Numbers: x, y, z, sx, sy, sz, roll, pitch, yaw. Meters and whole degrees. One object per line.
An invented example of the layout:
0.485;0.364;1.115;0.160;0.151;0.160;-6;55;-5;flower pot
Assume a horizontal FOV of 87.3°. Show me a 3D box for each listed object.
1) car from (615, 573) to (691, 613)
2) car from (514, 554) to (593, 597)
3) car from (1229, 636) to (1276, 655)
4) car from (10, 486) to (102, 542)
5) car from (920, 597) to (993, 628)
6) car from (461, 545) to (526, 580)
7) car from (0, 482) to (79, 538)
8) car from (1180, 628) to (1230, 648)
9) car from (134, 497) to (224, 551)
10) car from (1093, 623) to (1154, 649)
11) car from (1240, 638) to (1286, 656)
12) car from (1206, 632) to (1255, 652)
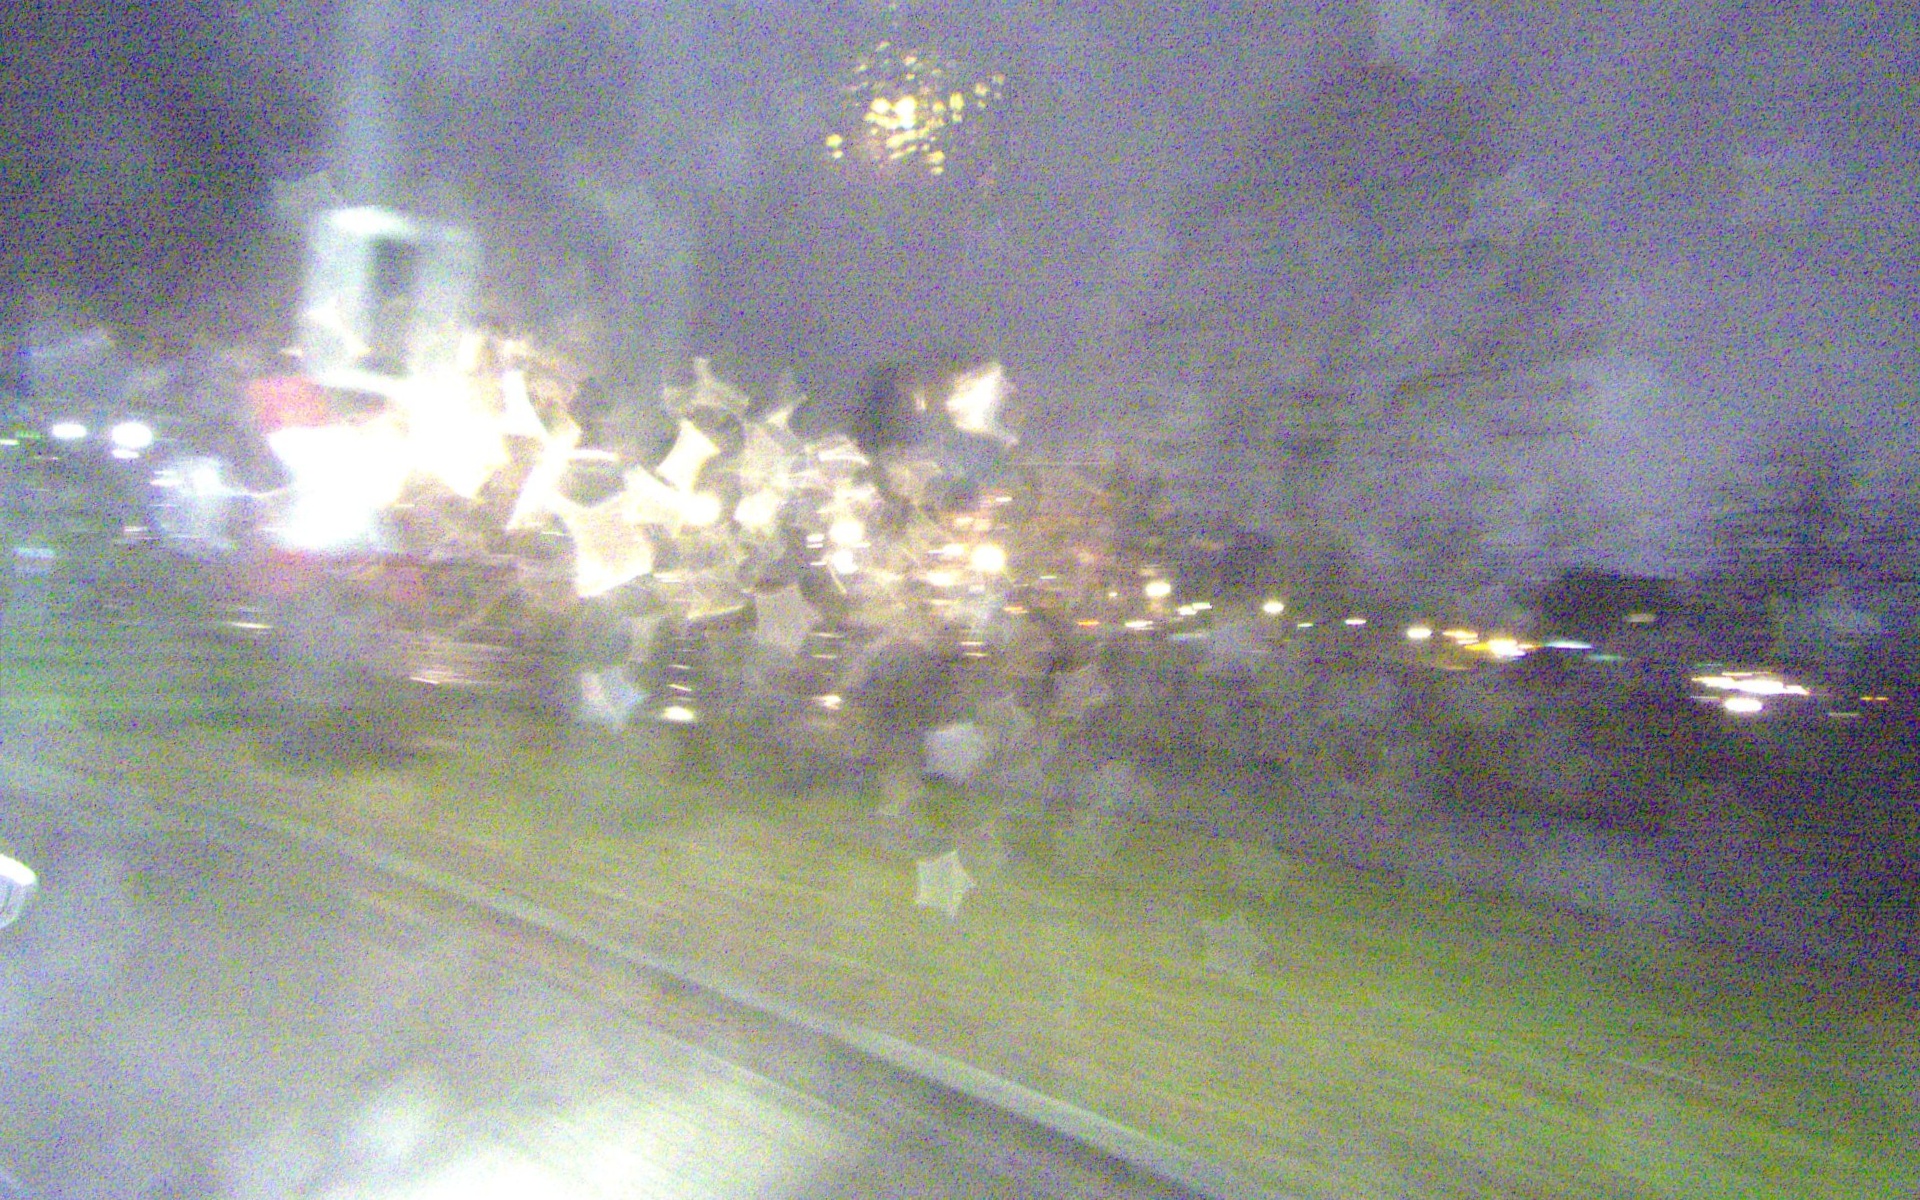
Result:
-15.354;-0.375;50.292;3.857;1.555;1.714;6;-1;41;car
-18.864;-1.169;46.670;3.857;1.555;1.714;6;-1;41;car
29.388;4.541;101.172;4.091;1.391;1.714;6;-1;41;car
-30.054;-2.883;33.426;3.857;1.515;1.714;6;-1;41;car
-0.276;0.847;68.854;4.925;1.555;1.714;6;-1;41;car
-25.886;-2.090;55.771;3.857;1.555;1.714;6;-1;41;car
-34.835;-3.423;36.520;1.768;1.702;4.049;6;-1;42;car
22.713;3.524;93.377;4.091;1.391;1.714;6;-1;41;car
-27.846;-2.713;35.842;3.857;1.555;1.714;6;-1;41;car
13.932;3.059;85.920;4.925;1.555;1.714;6;-1;41;car
31.239;4.831;103.658;4.091;1.391;1.714;6;-1;41;car
26.284;4.073;97.768;4.091;1.391;1.714;6;-1;41;car
